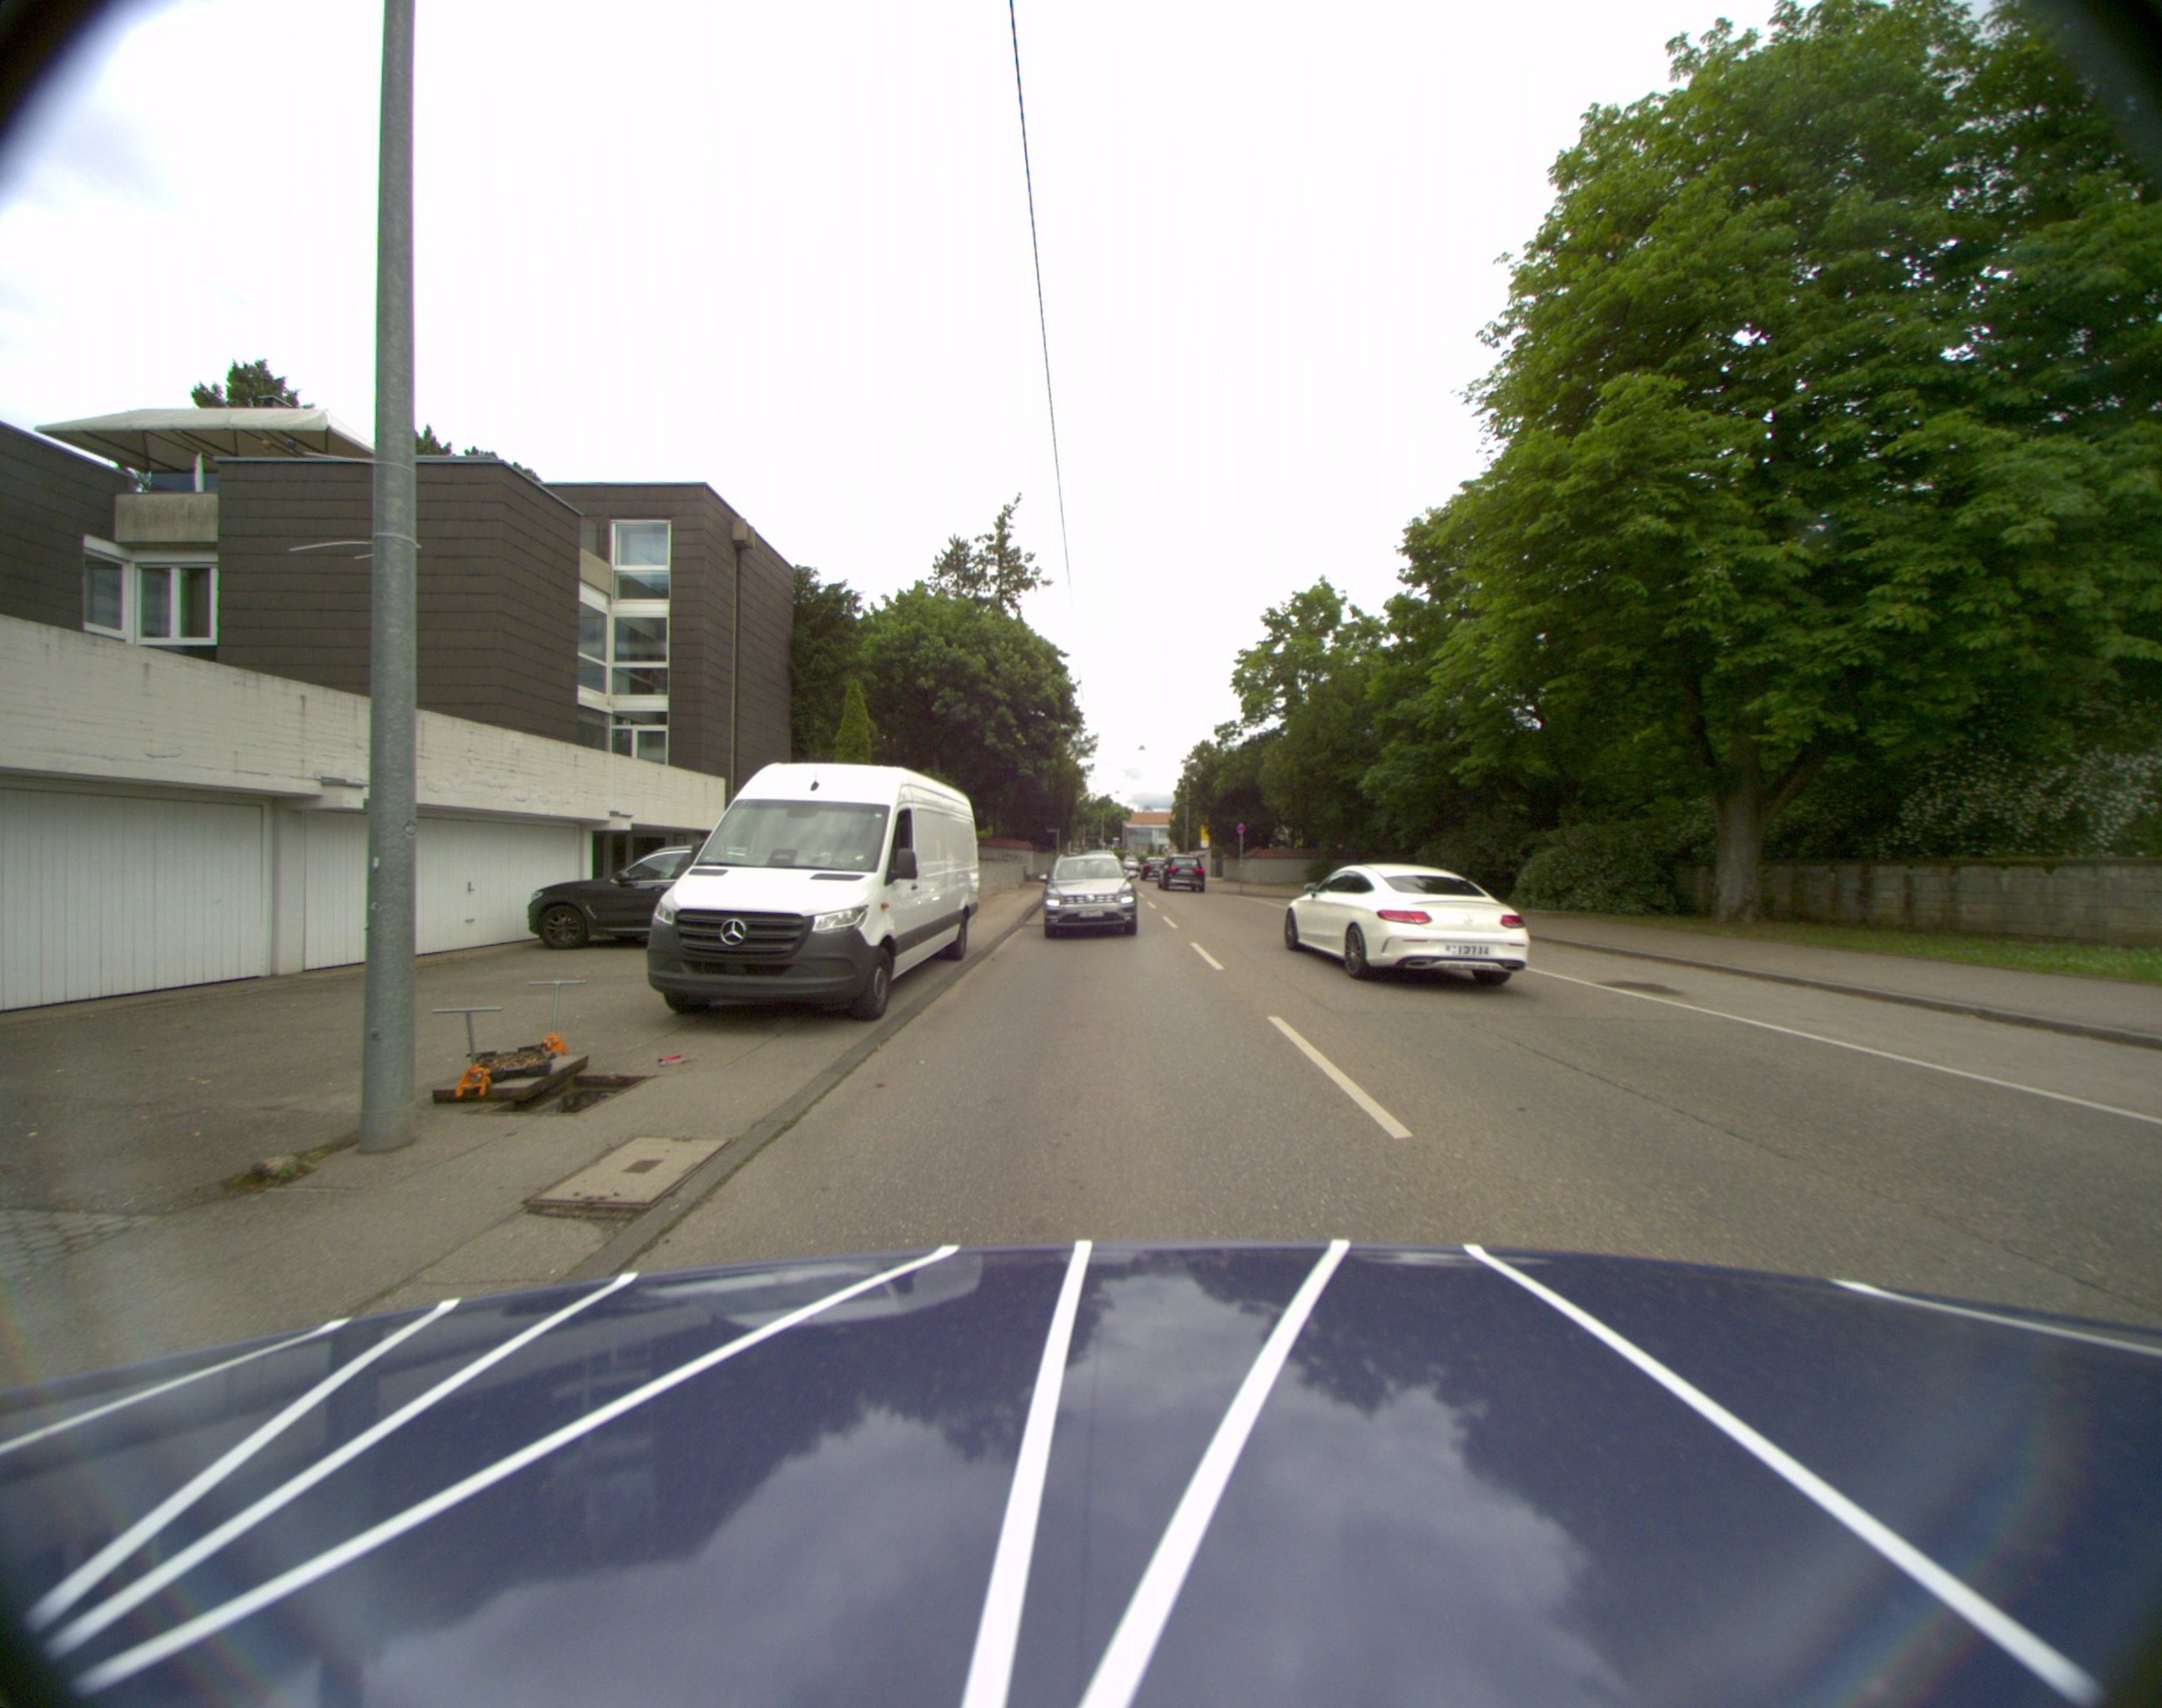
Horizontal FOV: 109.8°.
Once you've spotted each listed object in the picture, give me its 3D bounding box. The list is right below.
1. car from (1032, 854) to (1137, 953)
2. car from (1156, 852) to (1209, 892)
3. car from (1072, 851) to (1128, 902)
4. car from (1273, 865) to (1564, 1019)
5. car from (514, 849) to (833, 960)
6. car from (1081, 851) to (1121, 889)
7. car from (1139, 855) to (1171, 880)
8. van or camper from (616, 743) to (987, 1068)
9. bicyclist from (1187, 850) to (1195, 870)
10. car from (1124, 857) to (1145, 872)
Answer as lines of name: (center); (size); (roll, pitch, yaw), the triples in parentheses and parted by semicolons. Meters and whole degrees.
car: (0.114, 0.900, 16.167); (1.819, 1.690, 4.718); (-3, 0, 1)
car: (4.590, 0.790, 34.848); (1.885, 1.635, 4.128); (2, 0, 1)
car: (0.681, 0.741, 27.250); (1.819, 1.647, 4.488); (-1, 0, 1)
car: (4.111, 0.946, 10.308); (1.819, 1.411, 4.829); (3, 0, 1)
car: (-6.585, 0.768, 12.576); (4.392, 1.665, 1.696); (1, 1, 2)
car: (0.959, 0.731, 36.937); (1.819, 1.733, 4.488); (-1, 0, 1)
car: (4.729, 0.849, 48.970); (1.705, 1.475, 4.000); (2, 0, 1)
van or camper: (-2.736, 0.407, 9.577); (1.996, 2.610, 6.544); (3, 1, 2)
bicyclist: (9.092, 0.482, 62.813); (0.489, 1.674, 0.588); (-3, 1, 1)
car: (5.362, 1.017, 77.057); (1.761, 1.395, 4.413); (2, 0, -1)
